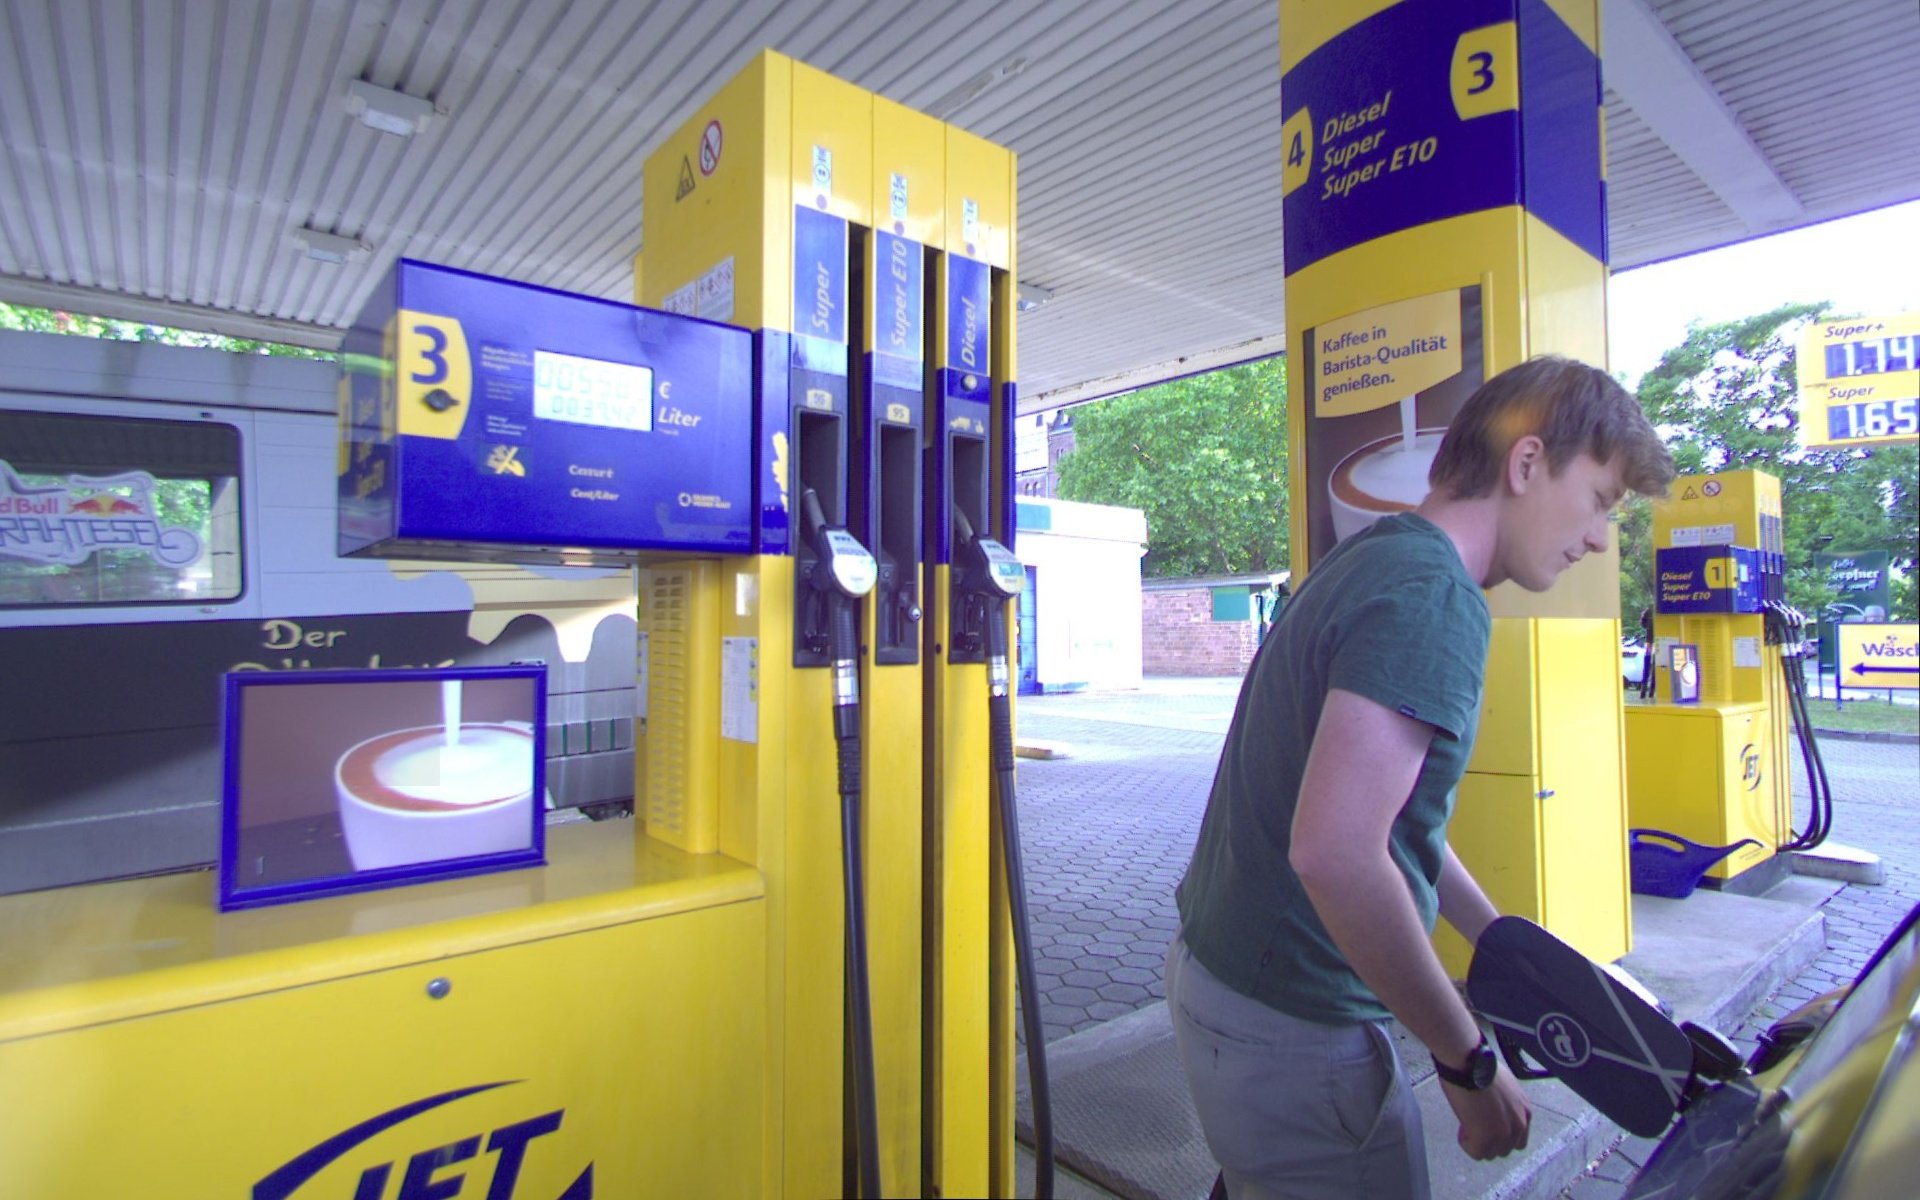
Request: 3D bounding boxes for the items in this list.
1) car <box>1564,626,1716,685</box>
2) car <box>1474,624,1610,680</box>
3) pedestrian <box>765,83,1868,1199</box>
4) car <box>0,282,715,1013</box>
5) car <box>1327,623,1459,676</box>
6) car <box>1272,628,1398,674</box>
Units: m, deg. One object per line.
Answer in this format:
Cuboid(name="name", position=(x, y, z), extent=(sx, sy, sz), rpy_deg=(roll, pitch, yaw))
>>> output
Cuboid(name="car", position=(18.254, 1.490, 27.144), extent=(4.112, 1.478, 1.826), rpy_deg=(2, -3, -31))
Cuboid(name="car", position=(17.770, 1.582, 30.860), extent=(4.112, 1.606, 1.826), rpy_deg=(2, -3, -31))
Cuboid(name="pedestrian", position=(0.492, 0.515, 1.431), extent=(1.161, 1.750, 0.993), rpy_deg=(-2, 1, -38))
Cuboid(name="car", position=(-4.096, 0.188, 4.864), extent=(5.248, 2.760, 2.201), rpy_deg=(0, -1, -39))
Cuboid(name="car", position=(13.781, 1.573, 32.178), extent=(4.112, 1.606, 1.826), rpy_deg=(2, -3, -31))
Cuboid(name="car", position=(12.642, 1.703, 34.041), extent=(4.112, 1.453, 1.826), rpy_deg=(2, -3, -31))
